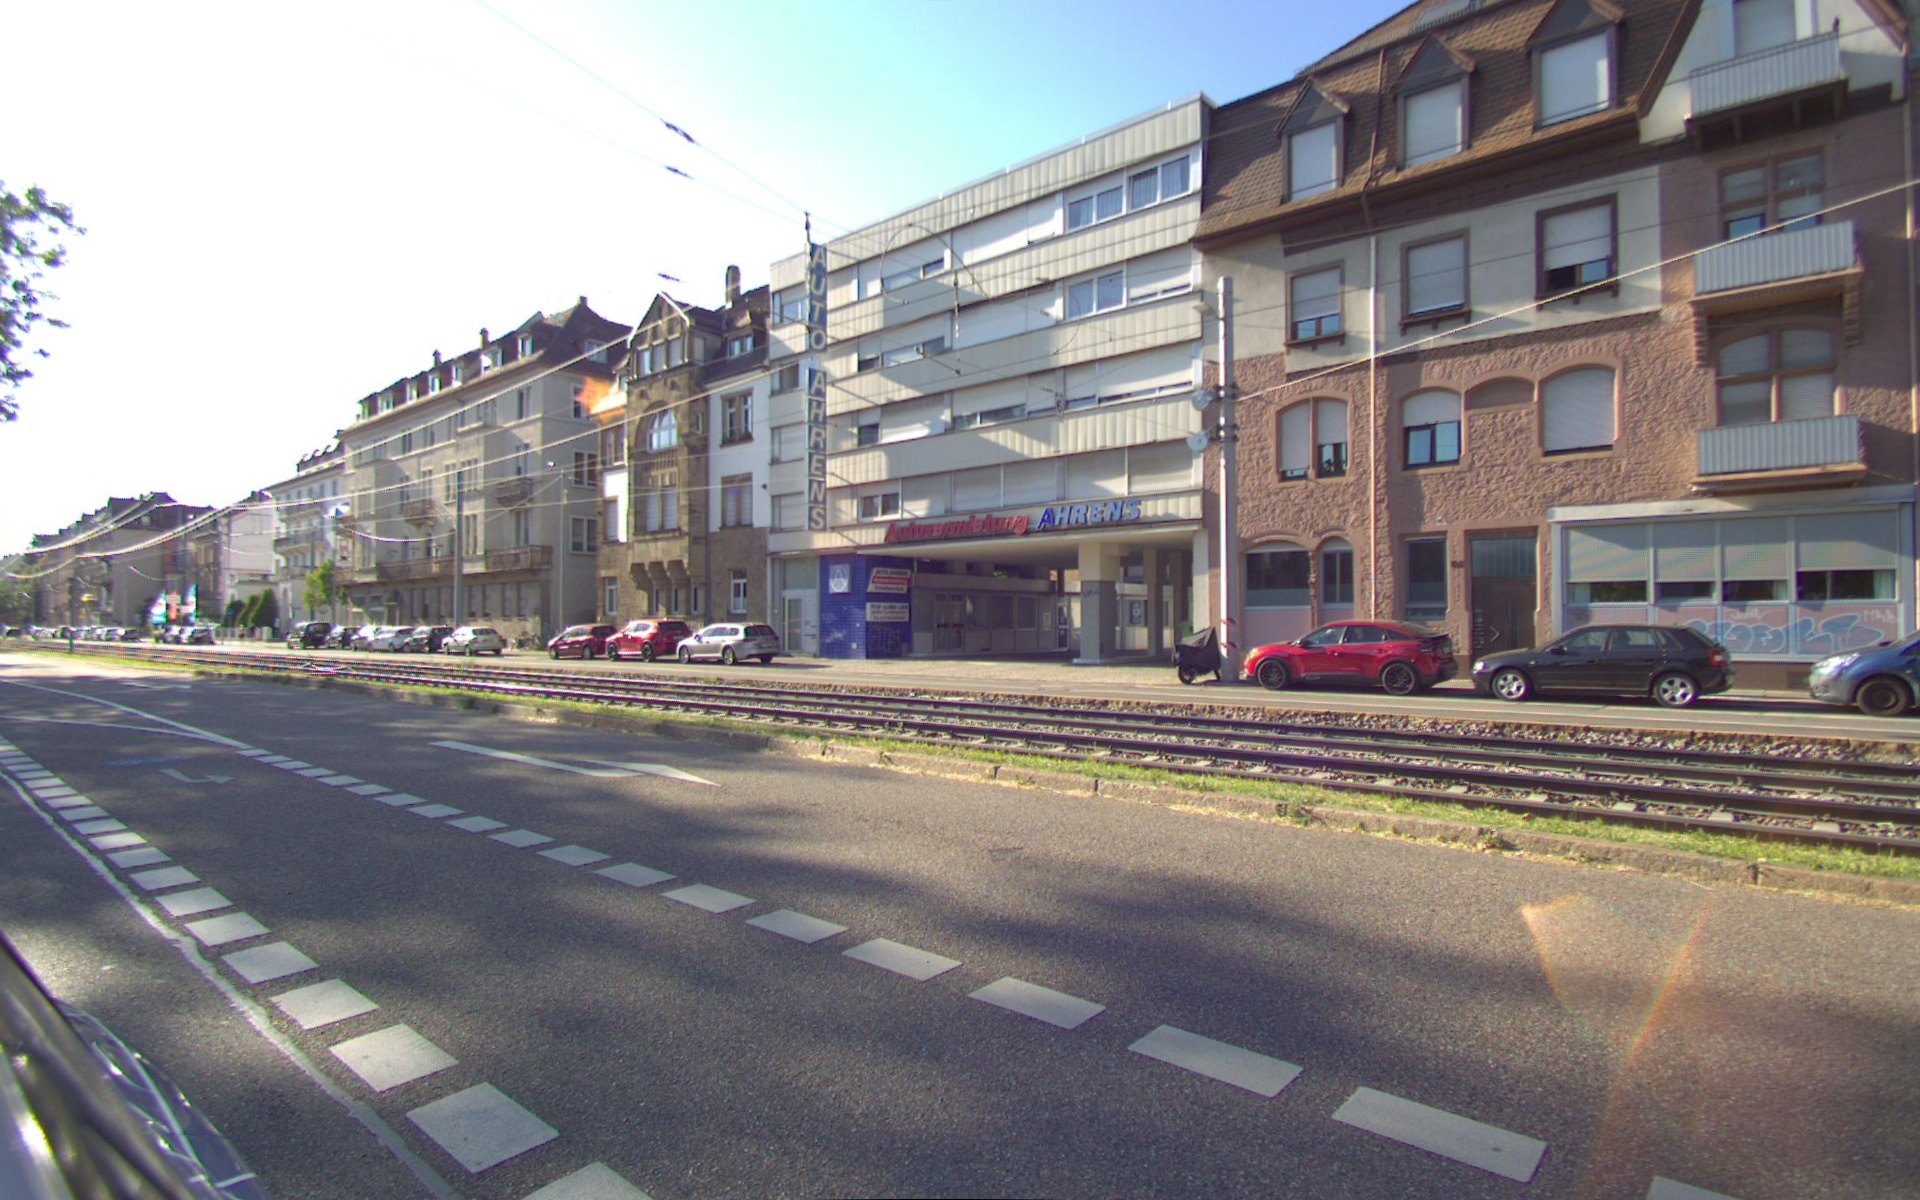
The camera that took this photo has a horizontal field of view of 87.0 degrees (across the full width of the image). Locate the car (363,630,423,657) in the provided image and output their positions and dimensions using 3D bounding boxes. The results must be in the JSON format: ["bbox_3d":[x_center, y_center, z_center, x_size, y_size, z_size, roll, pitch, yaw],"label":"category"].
[{"bbox_3d":[-32.438,2.469,57.856,3.531,1.457,1.624,-2,-1,35],"label":"car"}]

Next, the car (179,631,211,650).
[{"bbox_3d":[-68.163,3.612,90.143,3.387,1.583,1.662,-2,-1,42],"label":"car"}]

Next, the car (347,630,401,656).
[{"bbox_3d":[-35.677,2.609,61.606,3.822,1.490,1.778,-2,-1,42],"label":"car"}]

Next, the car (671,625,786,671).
[{"bbox_3d":[-8.495,1.716,36.881,4.379,1.510,1.837,-2,-1,41],"label":"car"}]

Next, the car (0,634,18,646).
[{"bbox_3d":[-135.008,5.630,143.525,3.999,1.697,1.798,-2,-2,42],"label":"car"}]

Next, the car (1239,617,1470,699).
[{"bbox_3d":[8.388,1.184,21.711,4.208,1.510,1.837,-2,1,41],"label":"car"}]

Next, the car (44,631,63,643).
[{"bbox_3d":[-129.881,5.339,144.975,3.449,1.602,1.603,-2,-1,42],"label":"car"}]

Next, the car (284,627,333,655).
[{"bbox_3d":[-44.359,2.764,68.848,3.914,1.750,1.851,-2,-1,42],"label":"car"}]

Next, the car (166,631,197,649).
[{"bbox_3d":[-71.657,3.691,93.193,3.387,1.583,1.662,-2,-1,42],"label":"car"}]

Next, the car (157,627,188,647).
[{"bbox_3d":[-75.800,3.558,97.373,3.879,1.800,1.705,-2,-1,42],"label":"car"}]

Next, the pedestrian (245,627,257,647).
[{"bbox_3d":[-62.747,3.279,89.588,0.677,1.803,0.716,-2,-3,41],"label":"pedestrian"}]

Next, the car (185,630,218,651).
[{"bbox_3d":[-64.537,3.434,86.068,3.407,1.644,1.655,-2,-1,42],"label":"car"}]

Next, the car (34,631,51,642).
[{"bbox_3d":[-137.725,5.497,151.925,3.449,1.602,1.603,-2,-1,42],"label":"car"}]

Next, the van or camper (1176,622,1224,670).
[{"bbox_3d":[7.010,1.330,29.507,0.803,1.368,1.409,-2,-3,41],"label":"van or camper"}]

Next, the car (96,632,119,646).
[{"bbox_3d":[-98.288,4.482,116.673,3.449,1.602,1.603,-2,-1,42],"label":"car"}]

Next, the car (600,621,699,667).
[{"bbox_3d":[-12.457,1.739,40.482,4.262,1.700,1.836,-2,-1,43],"label":"car"}]

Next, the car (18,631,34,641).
[{"bbox_3d":[-157.309,6.102,170.451,3.449,1.602,1.603,-2,-1,42],"label":"car"}]

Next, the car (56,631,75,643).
[{"bbox_3d":[-123.995,5.122,140.327,3.449,1.602,1.603,-2,-1,42],"label":"car"}]

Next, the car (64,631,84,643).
[{"bbox_3d":[-120.120,5.041,137.155,3.449,1.602,1.603,-2,-1,42],"label":"car"}]

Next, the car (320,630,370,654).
[{"bbox_3d":[-39.951,2.725,65.714,3.822,1.490,1.778,-2,-1,42],"label":"car"}]

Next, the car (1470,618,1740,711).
[{"bbox_3d":[11.655,1.111,18.412,3.925,1.448,1.678,-2,1,41],"label":"car"}]

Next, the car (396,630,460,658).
[{"bbox_3d":[-29.127,2.388,55.359,3.820,1.441,1.779,-2,-1,40],"label":"car"}]

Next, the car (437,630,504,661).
[{"bbox_3d":[-25.088,2.304,51.810,3.822,1.490,1.778,-2,-1,42],"label":"car"}]

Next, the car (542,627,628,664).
[{"bbox_3d":[-16.273,1.957,43.861,3.722,1.507,1.736,-2,0,36],"label":"car"}]

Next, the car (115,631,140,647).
[{"bbox_3d":[-91.164,4.238,110.815,3.449,1.602,1.603,-2,-1,42],"label":"car"}]

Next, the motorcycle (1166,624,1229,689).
[{"bbox_3d":[5.714,1.324,24.277,0.628,1.433,1.835,-3,-1,41],"label":"motorcycle"}]

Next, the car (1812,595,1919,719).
[{"bbox_3d":[15.564,0.822,14.946,4.419,1.772,1.865,-2,1,44],"label":"car"}]
